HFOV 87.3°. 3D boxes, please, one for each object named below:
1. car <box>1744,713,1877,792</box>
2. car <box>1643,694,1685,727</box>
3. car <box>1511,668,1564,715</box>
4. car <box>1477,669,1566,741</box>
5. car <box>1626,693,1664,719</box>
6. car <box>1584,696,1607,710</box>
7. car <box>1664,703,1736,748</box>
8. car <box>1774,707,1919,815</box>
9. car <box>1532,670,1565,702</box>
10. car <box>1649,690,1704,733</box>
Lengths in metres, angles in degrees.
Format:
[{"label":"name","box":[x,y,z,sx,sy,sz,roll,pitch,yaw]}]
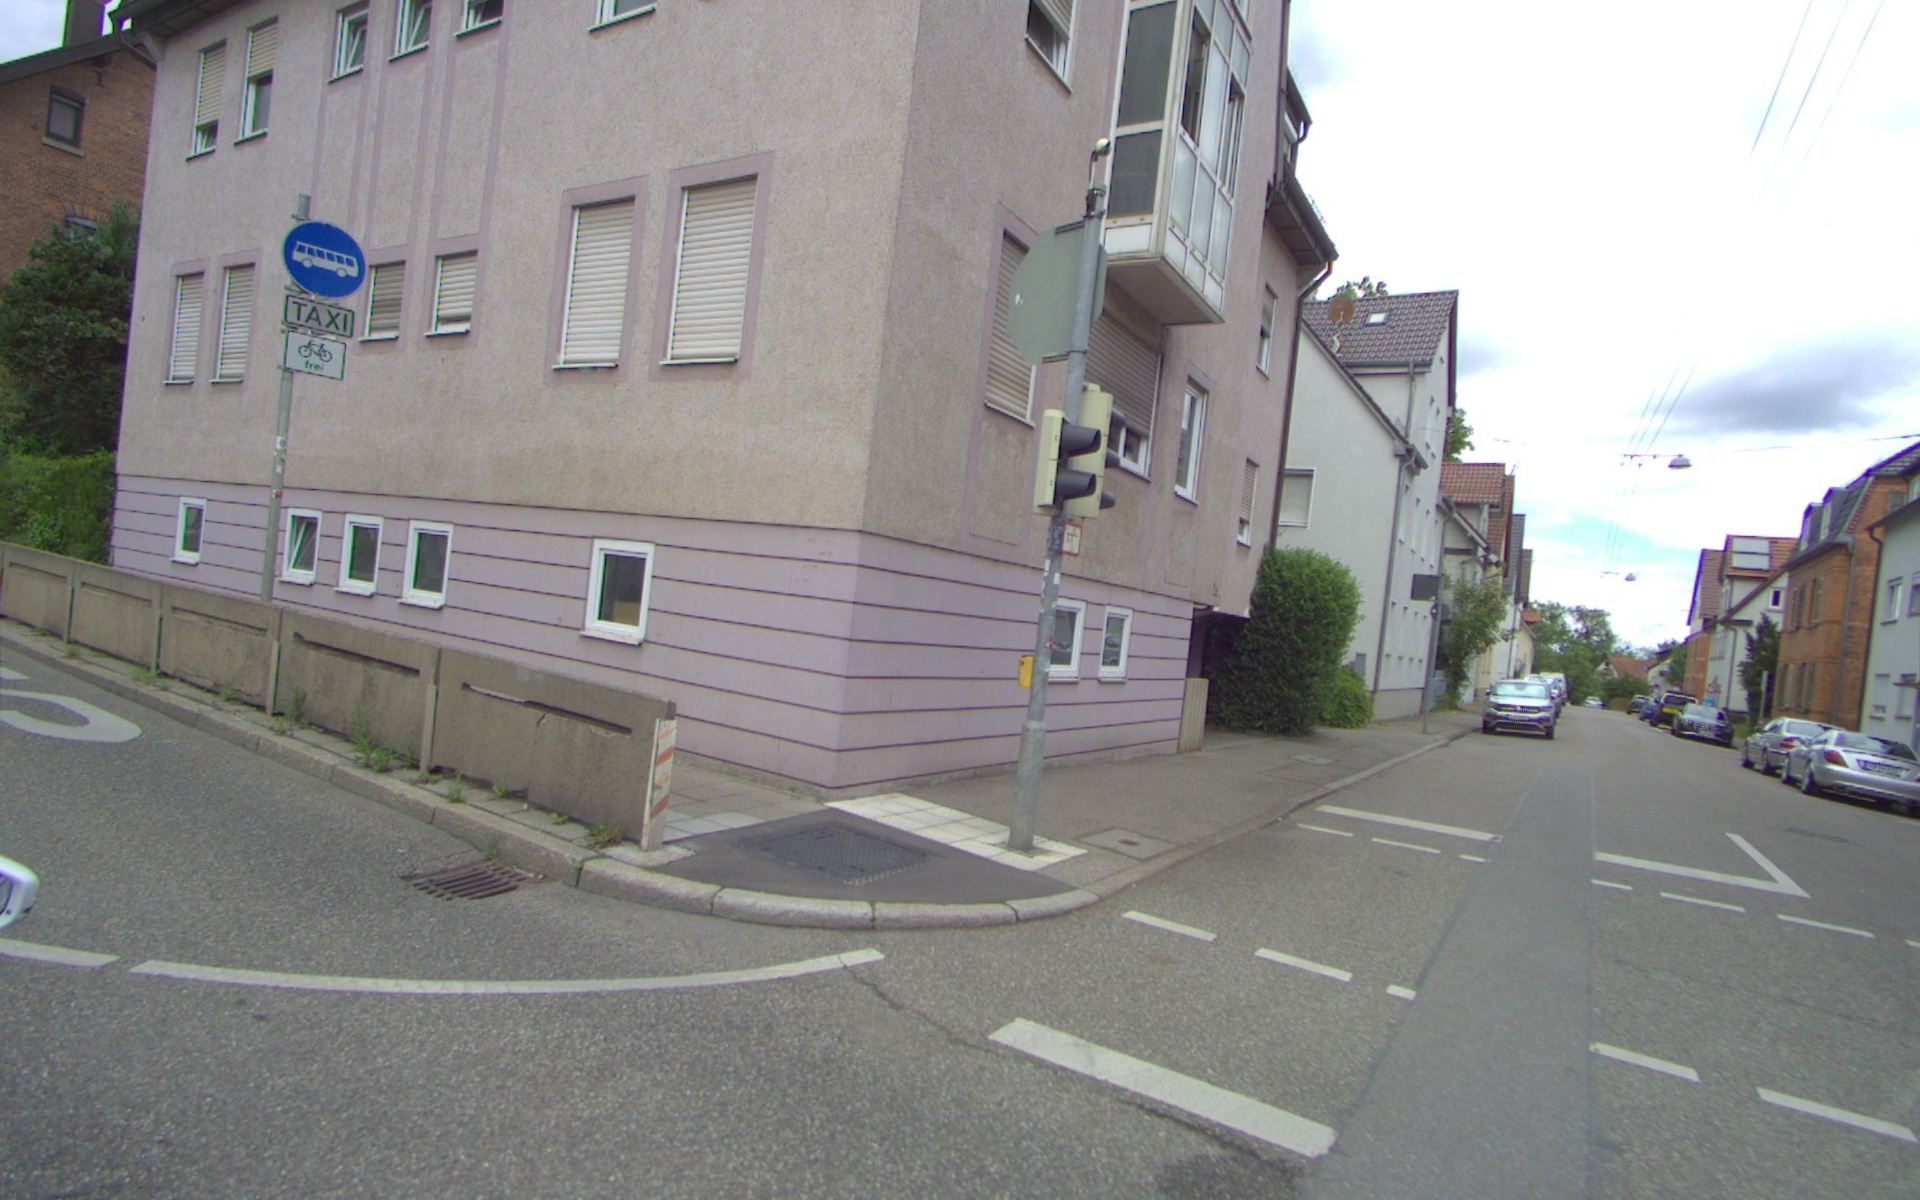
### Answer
[{"label":"car","box":[19.620,3.457,23.375,1.698,1.385,3.992,7,-1,33]},{"label":"car","box":[41.941,6.576,59.995,1.692,1.658,3.993,7,-1,32]},{"label":"car","box":[27.869,4.431,48.550,1.966,1.905,3.994,7,-1,31]},{"label":"car","box":[15.764,2.919,28.210,1.859,1.638,3.994,7,-1,31]},{"label":"car","box":[51.605,7.995,75.894,1.967,1.615,3.994,7,-1,31]},{"label":"car","box":[68.387,11.056,108.286,1.772,1.192,3.994,7,-1,31]},{"label":"car","box":[29.977,5.038,40.854,1.847,1.459,3.993,7,-1,32]},{"label":"car","box":[17.135,2.996,19.239,1.762,1.638,3.993,7,-1,32]},{"label":"car","box":[46.693,6.844,79.817,1.967,2.150,3.994,7,-1,31]},{"label":"car","box":[36.628,5.680,51.529,1.847,1.872,3.993,7,-1,32]}]
